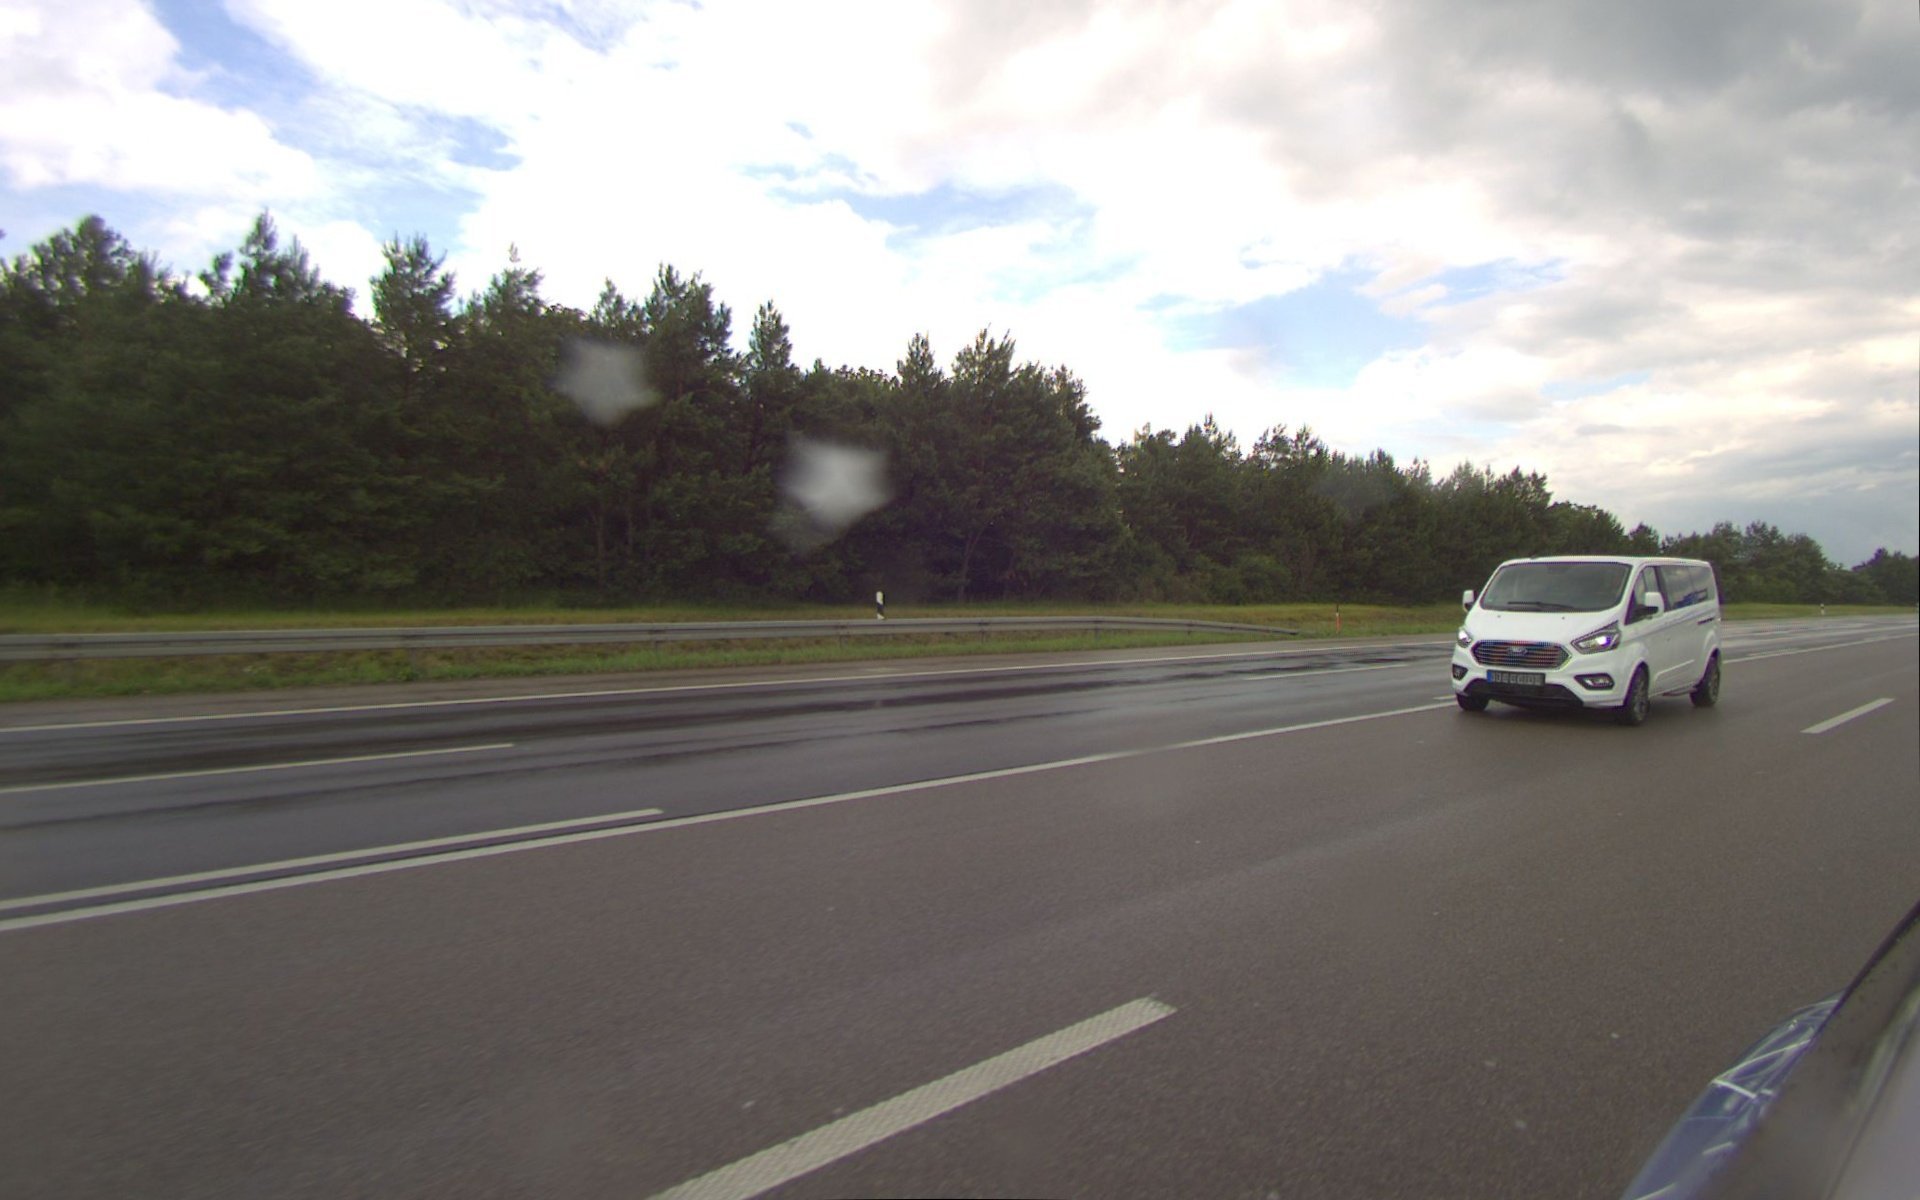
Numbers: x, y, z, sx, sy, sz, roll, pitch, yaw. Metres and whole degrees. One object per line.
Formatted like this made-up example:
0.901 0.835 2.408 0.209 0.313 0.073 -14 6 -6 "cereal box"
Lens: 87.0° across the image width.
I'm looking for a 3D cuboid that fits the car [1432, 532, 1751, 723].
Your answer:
8.456 0.279 13.306 5.385 2.039 1.997 0 0 -40 "car"
